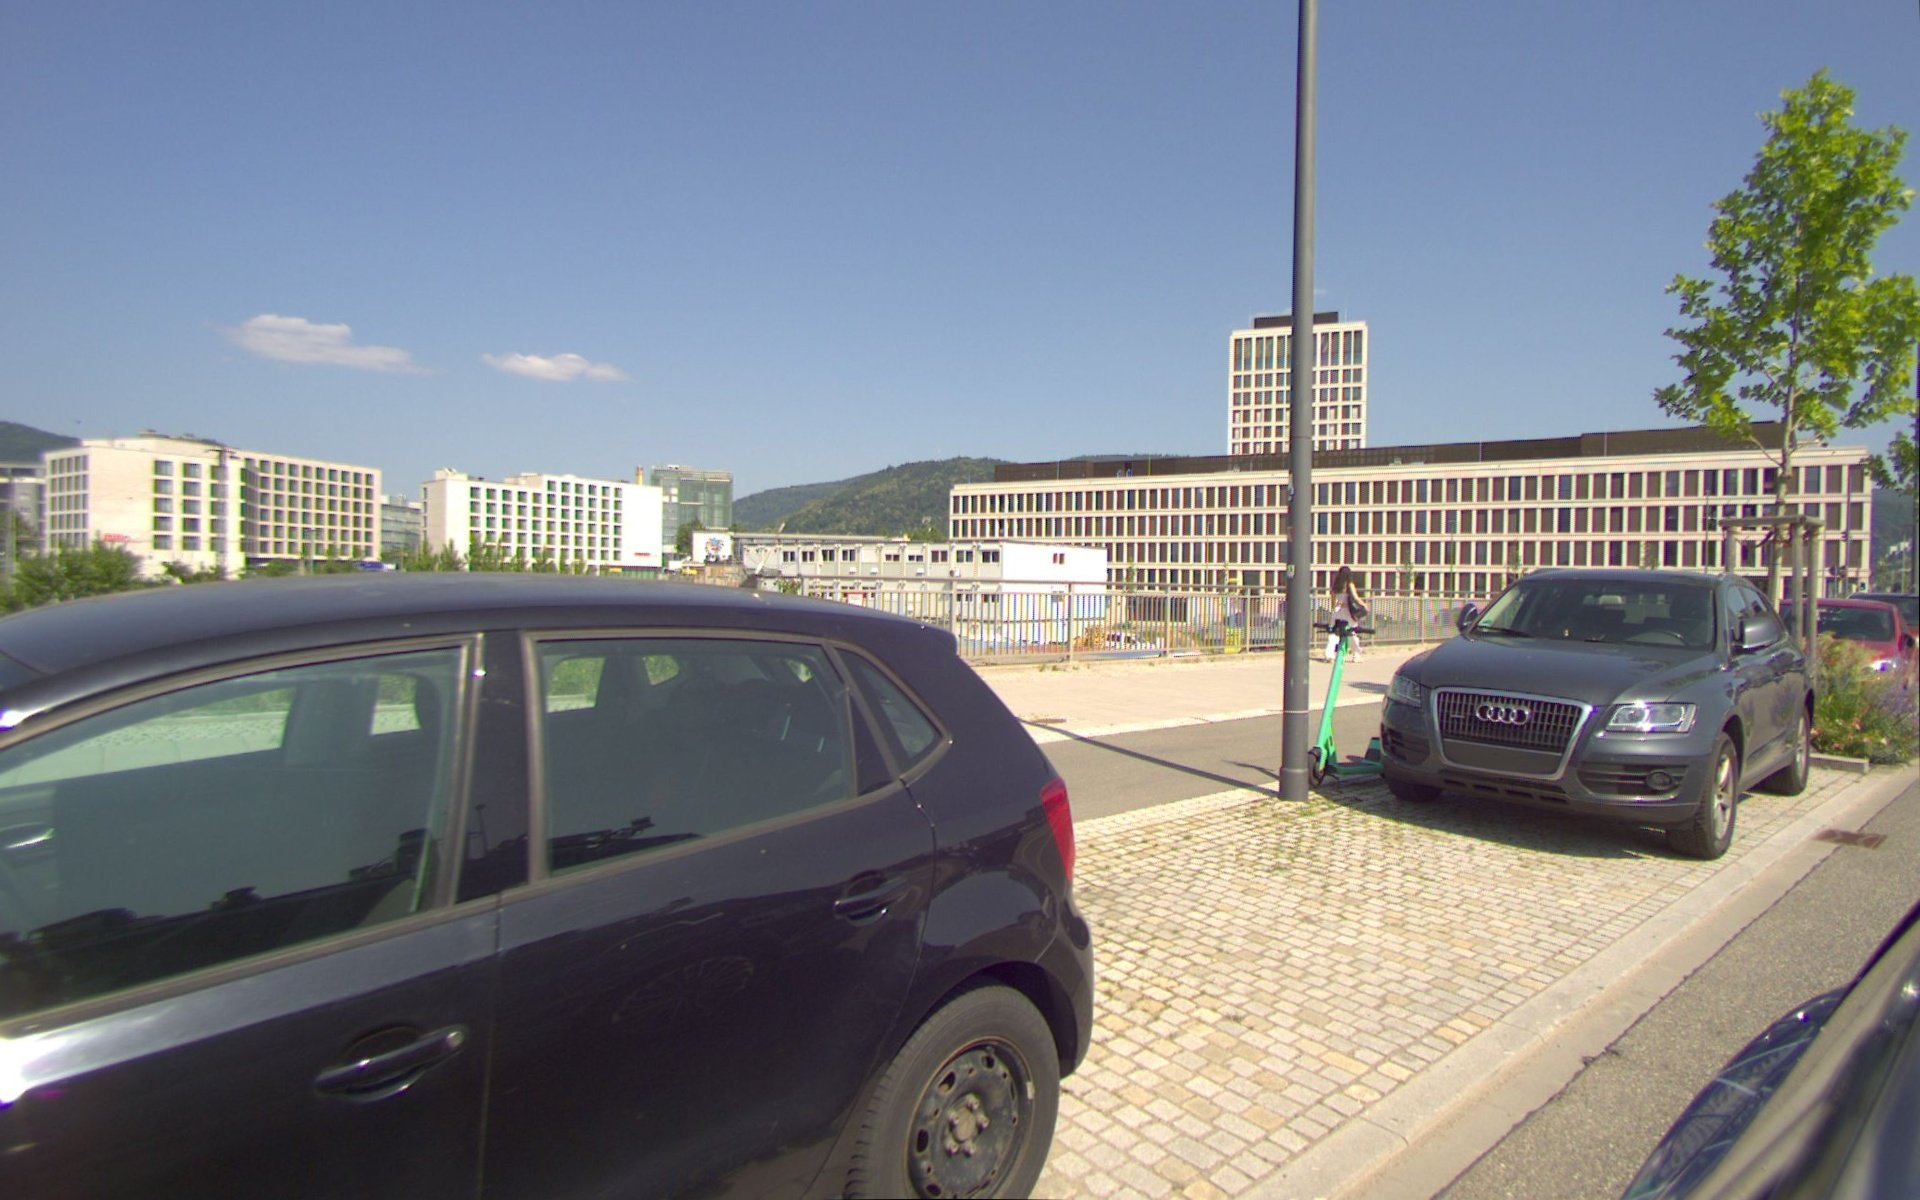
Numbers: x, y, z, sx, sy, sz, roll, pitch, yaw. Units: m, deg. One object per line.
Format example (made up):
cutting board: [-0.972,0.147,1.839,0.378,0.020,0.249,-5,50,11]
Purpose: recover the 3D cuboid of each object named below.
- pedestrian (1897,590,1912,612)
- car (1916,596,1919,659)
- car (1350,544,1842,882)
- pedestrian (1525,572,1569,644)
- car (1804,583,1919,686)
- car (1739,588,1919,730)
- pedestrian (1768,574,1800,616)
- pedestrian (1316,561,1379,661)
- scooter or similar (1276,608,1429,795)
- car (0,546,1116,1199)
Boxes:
pedestrian: [79.434,0.080,85.123,0.877,1.850,1.639,-2,-1,43]
car: [24.831,0.681,24.761,3.755,1.497,1.624,1,1,-40]
car: [4.537,0.505,6.942,4.168,1.628,1.737,0,3,-42]
pedestrian: [14.419,0.197,24.865,0.639,1.726,0.733,-2,0,-40]
car: [16.849,0.560,18.095,4.466,1.637,1.913,1,1,-40]
car: [11.445,0.631,13.078,3.755,1.510,1.605,0,3,-44]
pedestrian: [32.848,-0.191,40.344,0.932,1.628,0.752,0,3,-41]
pedestrian: [6.928,0.175,18.102,0.728,1.726,0.782,0,1,-40]
scooter or similar: [2.847,0.679,7.300,1.239,1.209,0.489,0,1,-41]
car: [-1.731,0.643,1.661,4.168,1.446,1.636,-1,3,-42]
